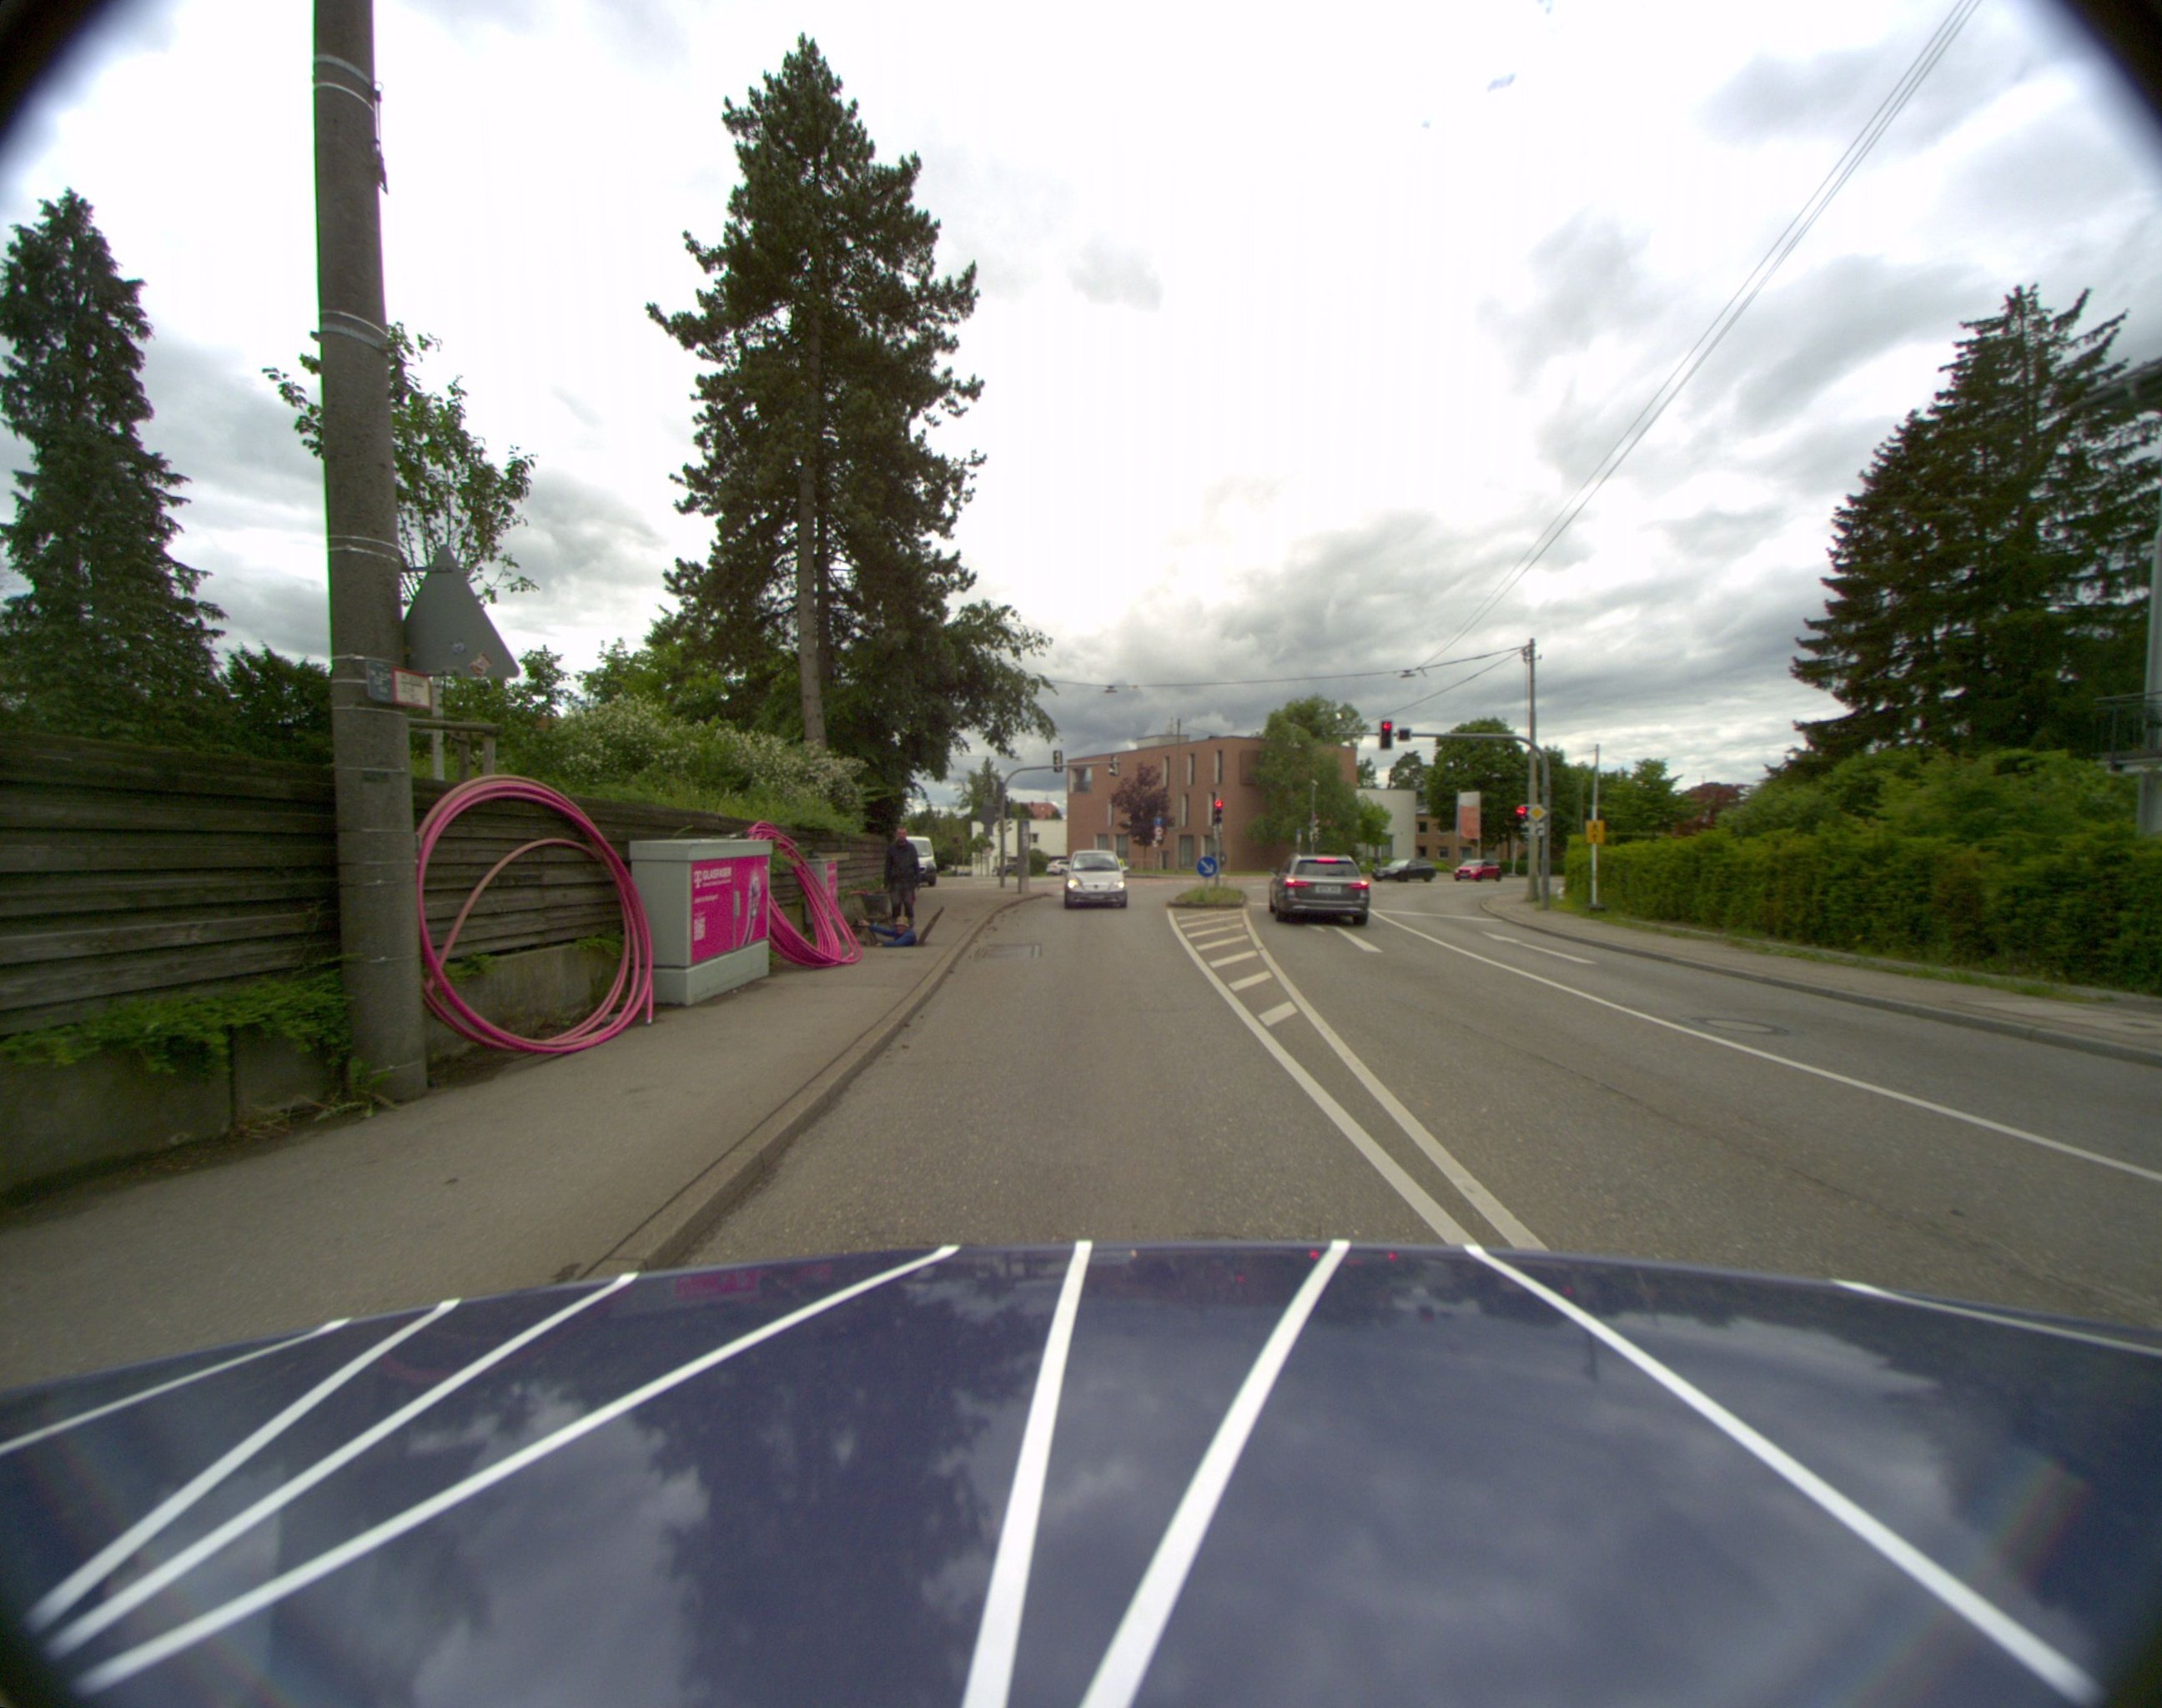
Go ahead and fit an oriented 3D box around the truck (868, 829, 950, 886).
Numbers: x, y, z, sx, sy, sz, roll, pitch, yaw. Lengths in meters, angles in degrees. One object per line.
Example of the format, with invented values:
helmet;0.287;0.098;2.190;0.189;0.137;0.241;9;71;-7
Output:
truck;-7.938;0.116;34.493;2.408;2.338;6.175;1;0;-24

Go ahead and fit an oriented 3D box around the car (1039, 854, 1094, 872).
car;-1.308;0.768;67.897;4.442;1.549;1.996;0;0;-25

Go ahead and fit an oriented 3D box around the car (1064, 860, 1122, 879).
car;0.988;1.315;63.701;4.442;1.549;1.996;0;0;-25

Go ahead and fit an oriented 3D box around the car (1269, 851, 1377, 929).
car;5.301;0.696;17.196;1.828;1.476;4.752;1;0;12

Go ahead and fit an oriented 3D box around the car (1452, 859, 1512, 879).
car;27.391;1.013;51.857;4.007;1.193;1.994;-1;2;-36

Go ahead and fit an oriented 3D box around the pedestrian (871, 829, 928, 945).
pedestrian;-3.120;0.543;13.008;0.849;1.912;0.800;-1;1;-21

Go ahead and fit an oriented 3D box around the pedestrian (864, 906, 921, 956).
pedestrian;-2.927;1.182;11.781;0.648;0.692;0.583;-1;1;-42

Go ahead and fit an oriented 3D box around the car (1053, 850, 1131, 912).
car;0.266;0.690;21.798;1.999;1.586;3.999;-1;0;-1

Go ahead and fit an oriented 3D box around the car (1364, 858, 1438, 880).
car;19.858;0.920;47.213;4.004;1.237;1.996;-1;2;-22
